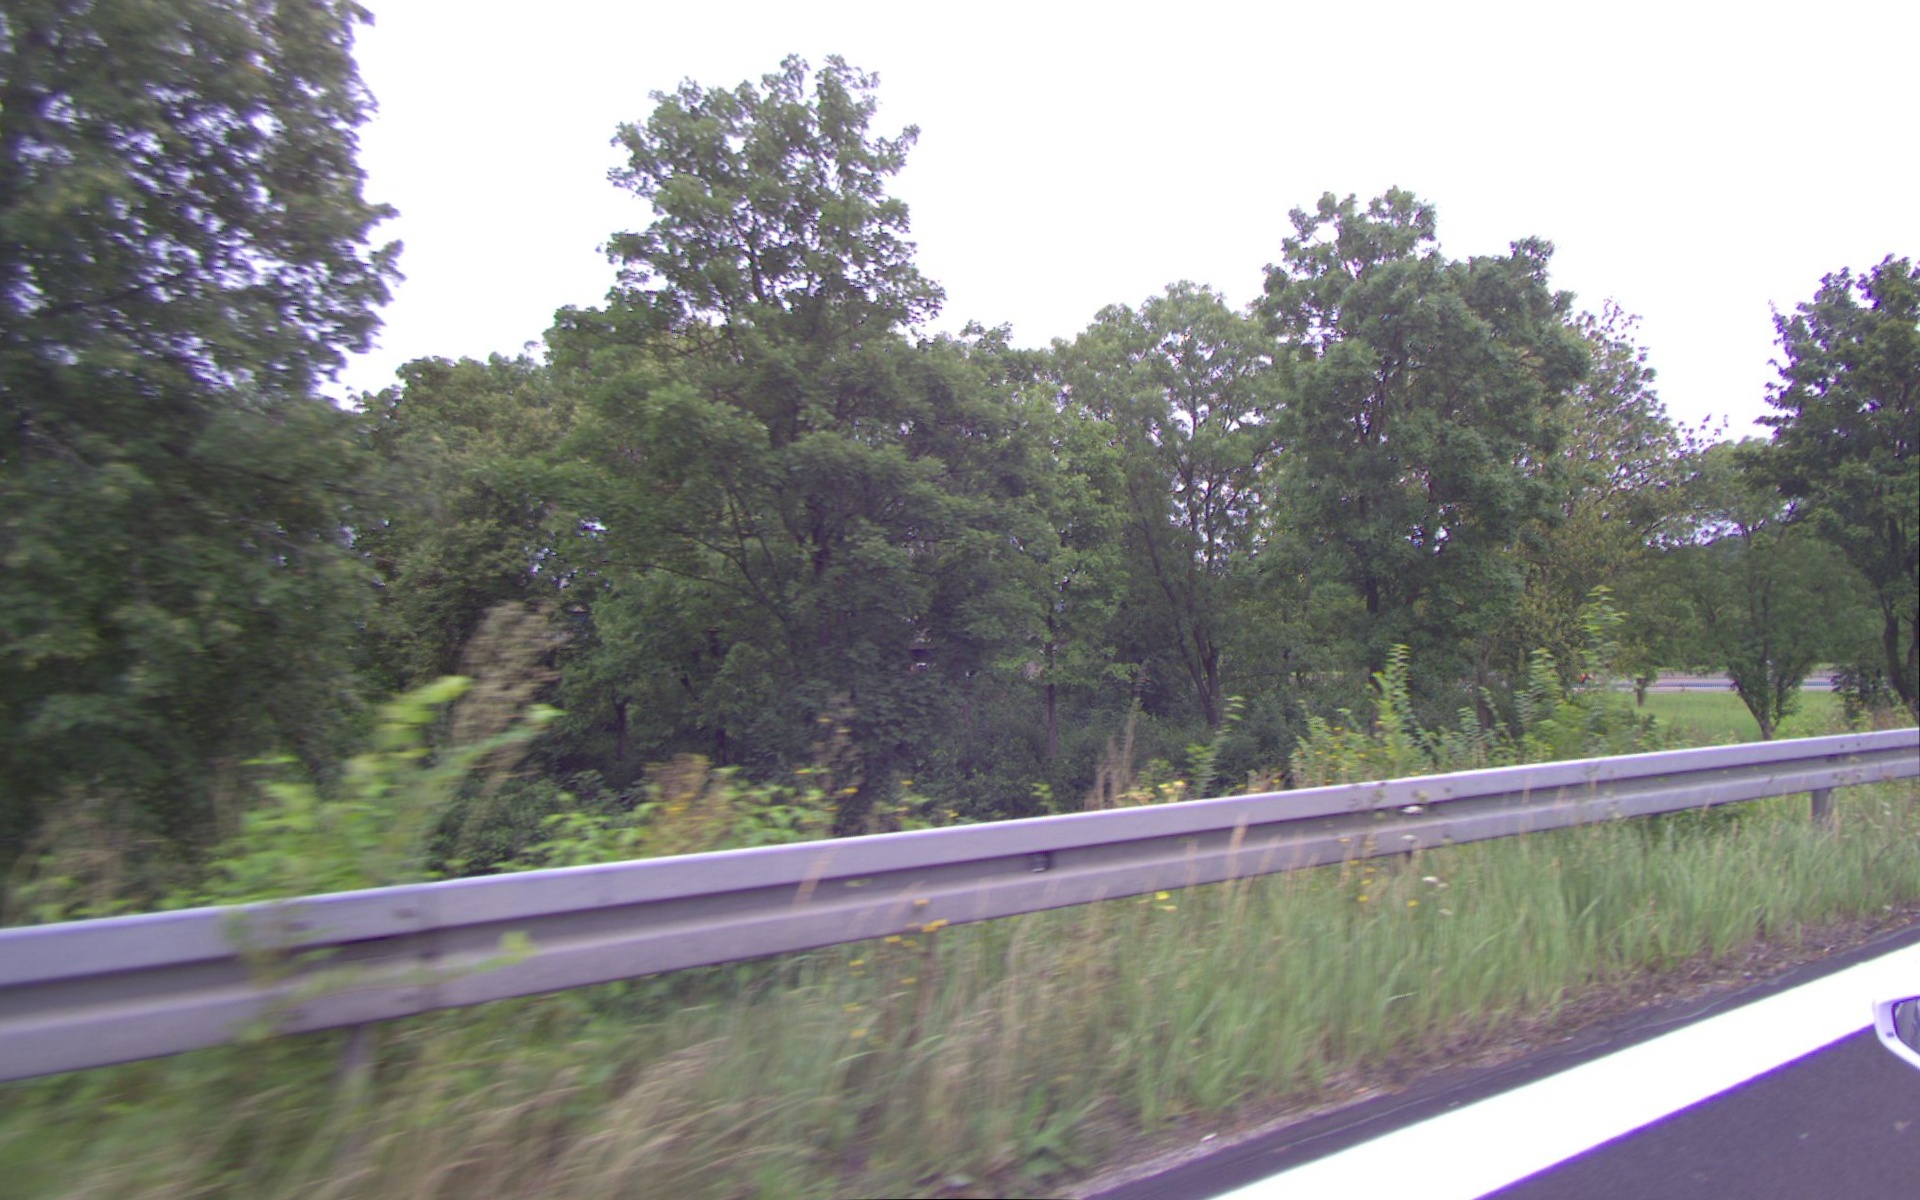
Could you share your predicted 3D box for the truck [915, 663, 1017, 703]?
[{"bbox_3d":[0.712,9.460,114.474,11.198,4.058,2.908,-2,-2,13],"label":"truck"}]
